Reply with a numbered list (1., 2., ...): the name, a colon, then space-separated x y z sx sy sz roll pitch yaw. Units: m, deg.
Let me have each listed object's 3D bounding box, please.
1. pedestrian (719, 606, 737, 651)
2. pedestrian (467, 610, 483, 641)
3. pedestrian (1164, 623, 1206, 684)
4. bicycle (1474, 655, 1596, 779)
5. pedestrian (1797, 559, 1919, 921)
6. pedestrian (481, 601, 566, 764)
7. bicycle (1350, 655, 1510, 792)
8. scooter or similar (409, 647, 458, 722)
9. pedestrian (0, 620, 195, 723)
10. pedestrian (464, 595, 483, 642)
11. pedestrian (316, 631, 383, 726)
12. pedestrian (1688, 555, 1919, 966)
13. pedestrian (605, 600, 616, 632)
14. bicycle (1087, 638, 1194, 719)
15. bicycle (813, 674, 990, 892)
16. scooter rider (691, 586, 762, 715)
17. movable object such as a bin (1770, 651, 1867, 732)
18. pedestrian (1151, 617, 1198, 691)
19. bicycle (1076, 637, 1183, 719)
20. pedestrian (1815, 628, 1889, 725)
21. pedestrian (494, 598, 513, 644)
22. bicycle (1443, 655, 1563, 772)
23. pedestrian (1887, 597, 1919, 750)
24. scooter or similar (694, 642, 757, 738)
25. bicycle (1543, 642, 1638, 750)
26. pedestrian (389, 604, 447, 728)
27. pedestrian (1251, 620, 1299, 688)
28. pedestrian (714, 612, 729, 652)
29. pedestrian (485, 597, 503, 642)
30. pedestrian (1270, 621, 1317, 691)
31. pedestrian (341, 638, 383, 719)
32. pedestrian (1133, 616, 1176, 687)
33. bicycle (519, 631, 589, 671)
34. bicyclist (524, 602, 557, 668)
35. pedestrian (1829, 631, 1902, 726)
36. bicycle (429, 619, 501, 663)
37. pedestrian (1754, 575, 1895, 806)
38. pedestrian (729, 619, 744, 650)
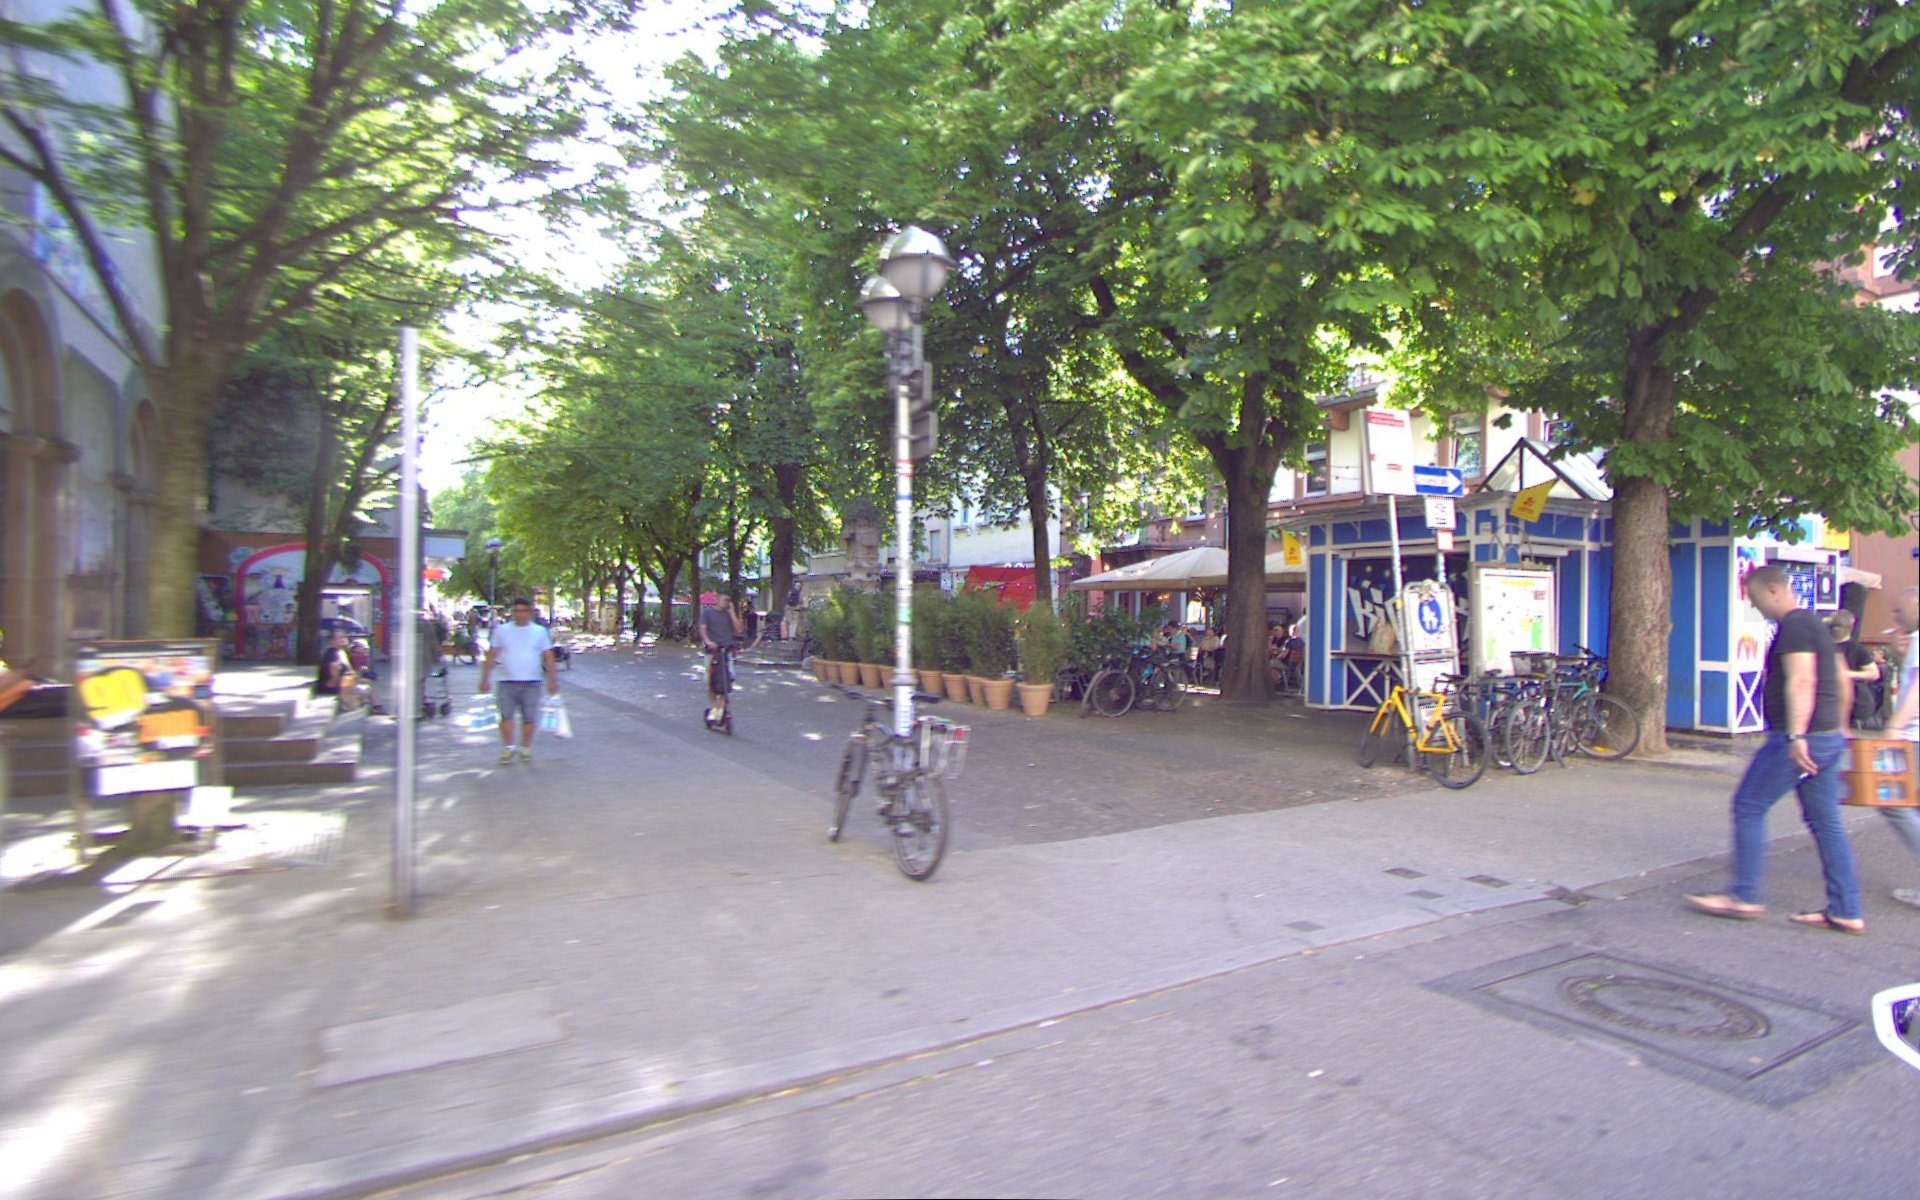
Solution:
1. pedestrian: -8.830 1.096 38.206 0.583 1.685 0.312 2 0 -31
2. pedestrian: -27.828 1.475 57.614 0.722 1.760 0.758 1 -1 -31
3. pedestrian: 4.855 1.156 21.703 0.670 1.284 0.561 2 0 -31
4. bicycle: 5.600 1.103 9.755 1.560 1.097 0.291 0 0 -31
5. pedestrian: 5.172 0.730 5.460 0.681 1.860 0.757 2 0 -32
6. pedestrian: -4.511 0.834 10.378 0.707 1.614 0.476 2 0 -33
7. bicycle: 4.360 1.112 9.440 0.341 1.097 1.571 2 0 -19
8. scooter or similar: -7.621 1.215 14.550 0.497 1.019 0.730 2 0 -19
9. pedestrian: -7.376 0.581 8.426 1.390 0.770 0.952 2 0 -31
10. pedestrian: -24.590 0.909 50.754 0.723 2.348 0.757 2 0 -34
11. pedestrian: -8.376 1.064 13.802 0.733 1.248 0.610 2 0 -31
12. pedestrian: 4.318 0.732 5.075 0.992 1.849 0.690 2 0 -32
13. pedestrian: -22.386 1.030 64.327 0.502 2.040 0.449 2 0 -31
14. bicycle: 2.717 1.144 15.015 1.915 1.106 0.227 0 1 -32
15. bicycle: -0.425 1.067 6.334 0.343 1.079 1.681 2 0 -31
16. scooter rider: -3.144 0.663 13.495 0.712 1.670 0.683 2 0 -32
17. movable object such as a bin: 12.604 1.325 14.752 0.765 1.101 0.866 2 0 -30
18. pedestrian: 4.023 1.009 18.859 0.627 1.338 0.565 2 0 -31
19. bicycle: 2.596 1.159 15.232 1.915 1.106 0.227 -1 1 -32
20. pedestrian: 13.979 1.179 15.744 0.610 1.464 0.702 2 0 -31
21. pedestrian: -23.319 1.068 51.267 0.722 2.348 0.757 2 0 -33
22. bicycle: 5.445 1.108 10.048 1.560 1.060 0.291 0 1 -31
23. pedestrian: 12.017 0.904 12.383 0.689 1.858 0.643 2 1 -31
24. scooter or similar: -3.143 1.173 13.411 0.509 1.175 1.049 2 0 -31
25. bicycle: 7.573 1.097 12.027 2.024 1.146 0.492 1 0 -44
26. pedestrian: -7.478 0.898 13.866 0.546 1.653 0.554 2 0 -43
27. pedestrian: 6.432 1.097 20.531 0.604 1.338 0.695 2 0 -22
28. pedestrian: -8.714 1.164 36.677 0.420 1.458 0.312 2 0 -31
29. pedestrian: -24.440 1.030 52.659 0.722 2.348 0.758 2 0 -32
30. pedestrian: 6.584 1.095 19.855 0.625 1.338 0.596 2 0 -25
31. pedestrian: -8.661 1.129 14.561 0.485 1.122 0.611 2 0 -31
32. pedestrian: 3.745 0.986 19.365 0.590 1.322 0.541 2 0 -31
33. bicycle: -11.483 1.422 28.524 0.479 1.003 2.767 2 -1 9
34. bicyclist: -11.578 0.946 27.740 0.494 1.785 0.683 2 0 9
35. pedestrian: 14.483 1.237 16.075 0.610 1.464 0.702 2 0 -31
36. bicycle: -15.065 1.248 30.601 1.906 1.283 0.520 2 0 -31
37. pedestrian: 7.513 0.753 8.737 0.712 1.898 0.713 2 0 -31
38. pedestrian: -8.745 1.352 39.273 0.407 1.165 0.427 2 0 -31
